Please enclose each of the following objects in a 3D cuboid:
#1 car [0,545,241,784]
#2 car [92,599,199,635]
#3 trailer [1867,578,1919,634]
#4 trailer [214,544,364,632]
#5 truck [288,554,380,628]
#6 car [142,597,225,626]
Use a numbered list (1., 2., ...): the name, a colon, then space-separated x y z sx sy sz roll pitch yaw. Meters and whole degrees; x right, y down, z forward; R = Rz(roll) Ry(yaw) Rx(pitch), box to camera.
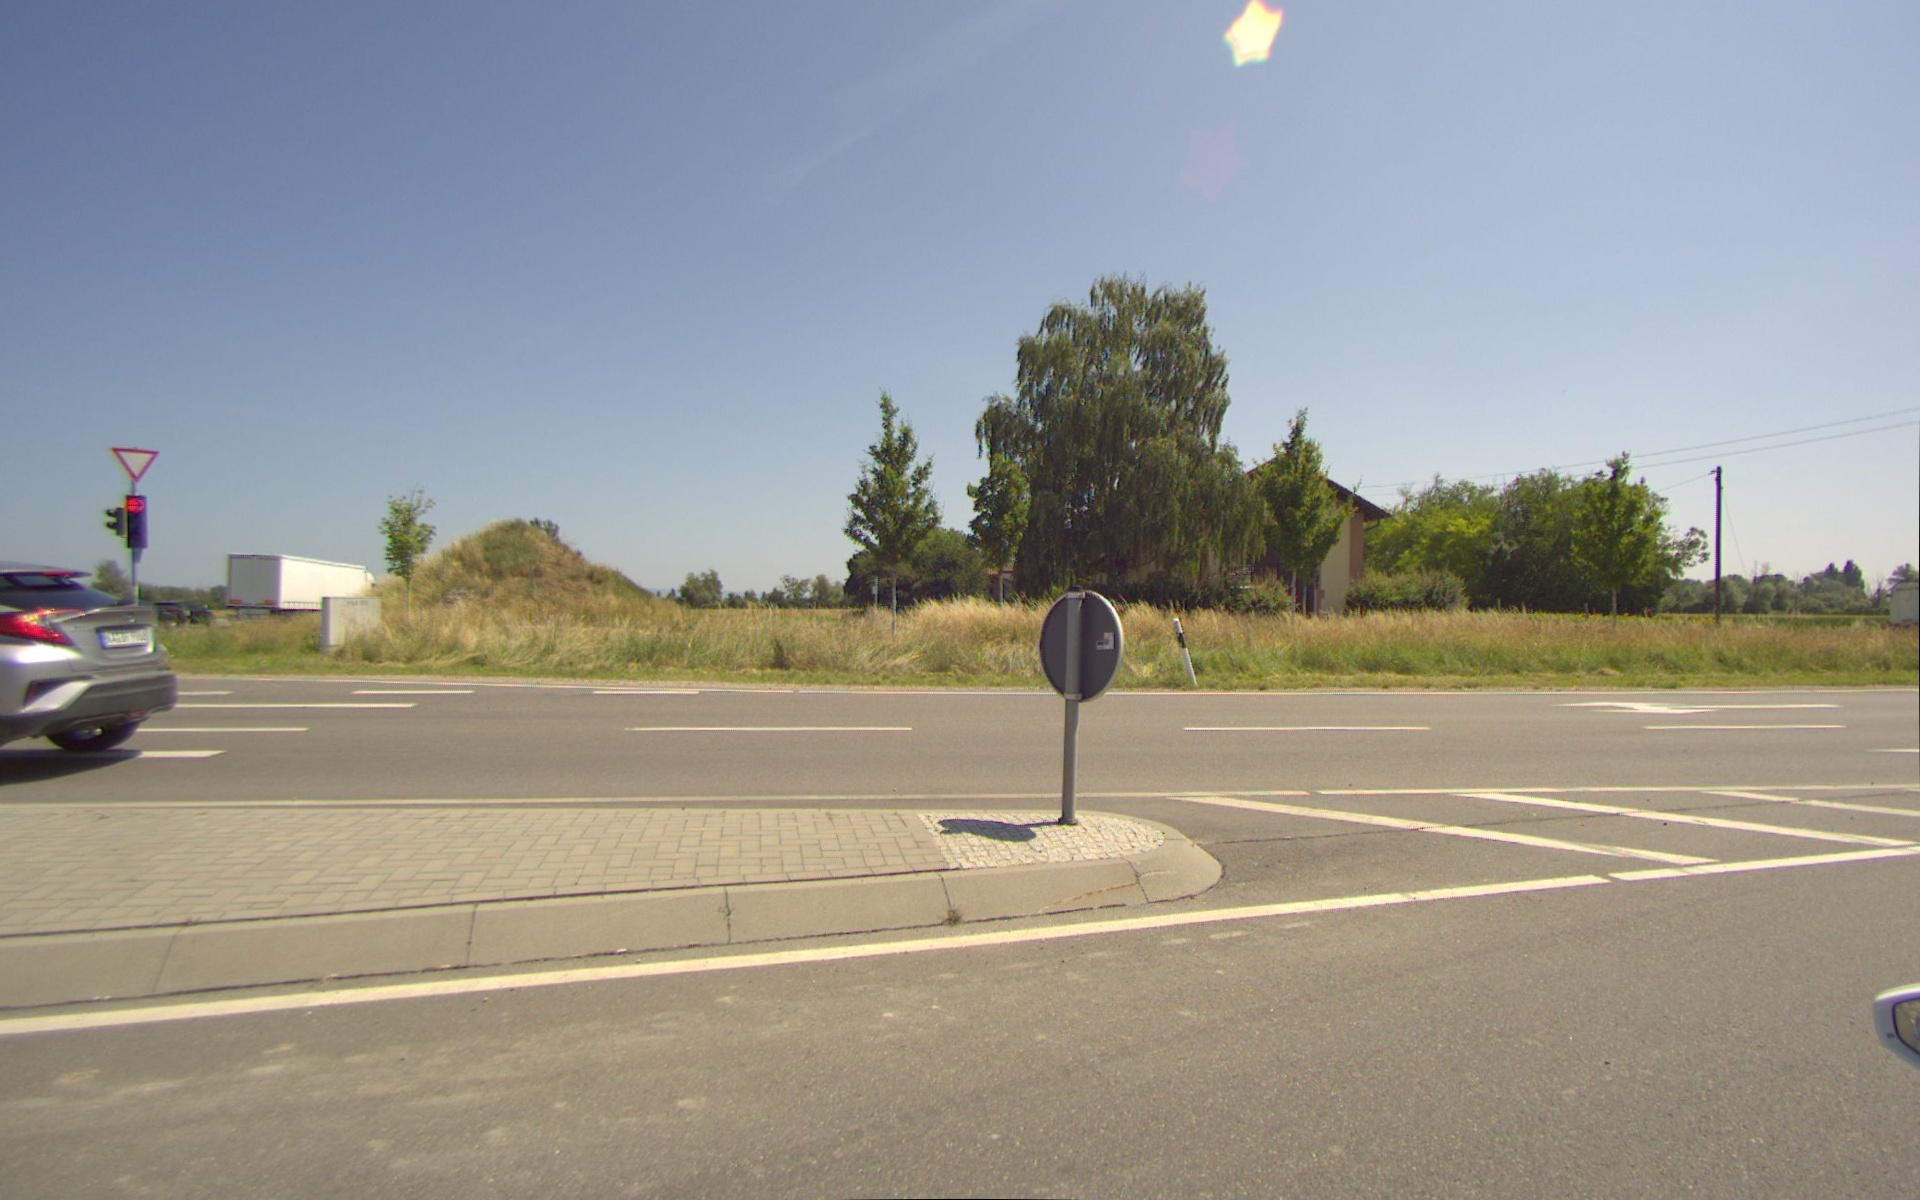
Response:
1. car: -8.149 0.372 7.185 4.469 1.564 1.868 2 0 -10
2. car: -35.300 0.742 43.697 1.759 1.449 4.371 2 -1 -12
3. trailer: 45.085 0.259 45.399 6.265 2.489 2.683 0 1 -8
4. trailer: -39.608 -0.535 60.063 3.336 4.602 12.832 2 -1 -15
5. truck: -41.409 -0.511 66.726 3.336 4.602 6.352 2 -1 -15
6. car: -42.235 0.664 54.763 1.863 1.466 4.513 2 -2 -15
